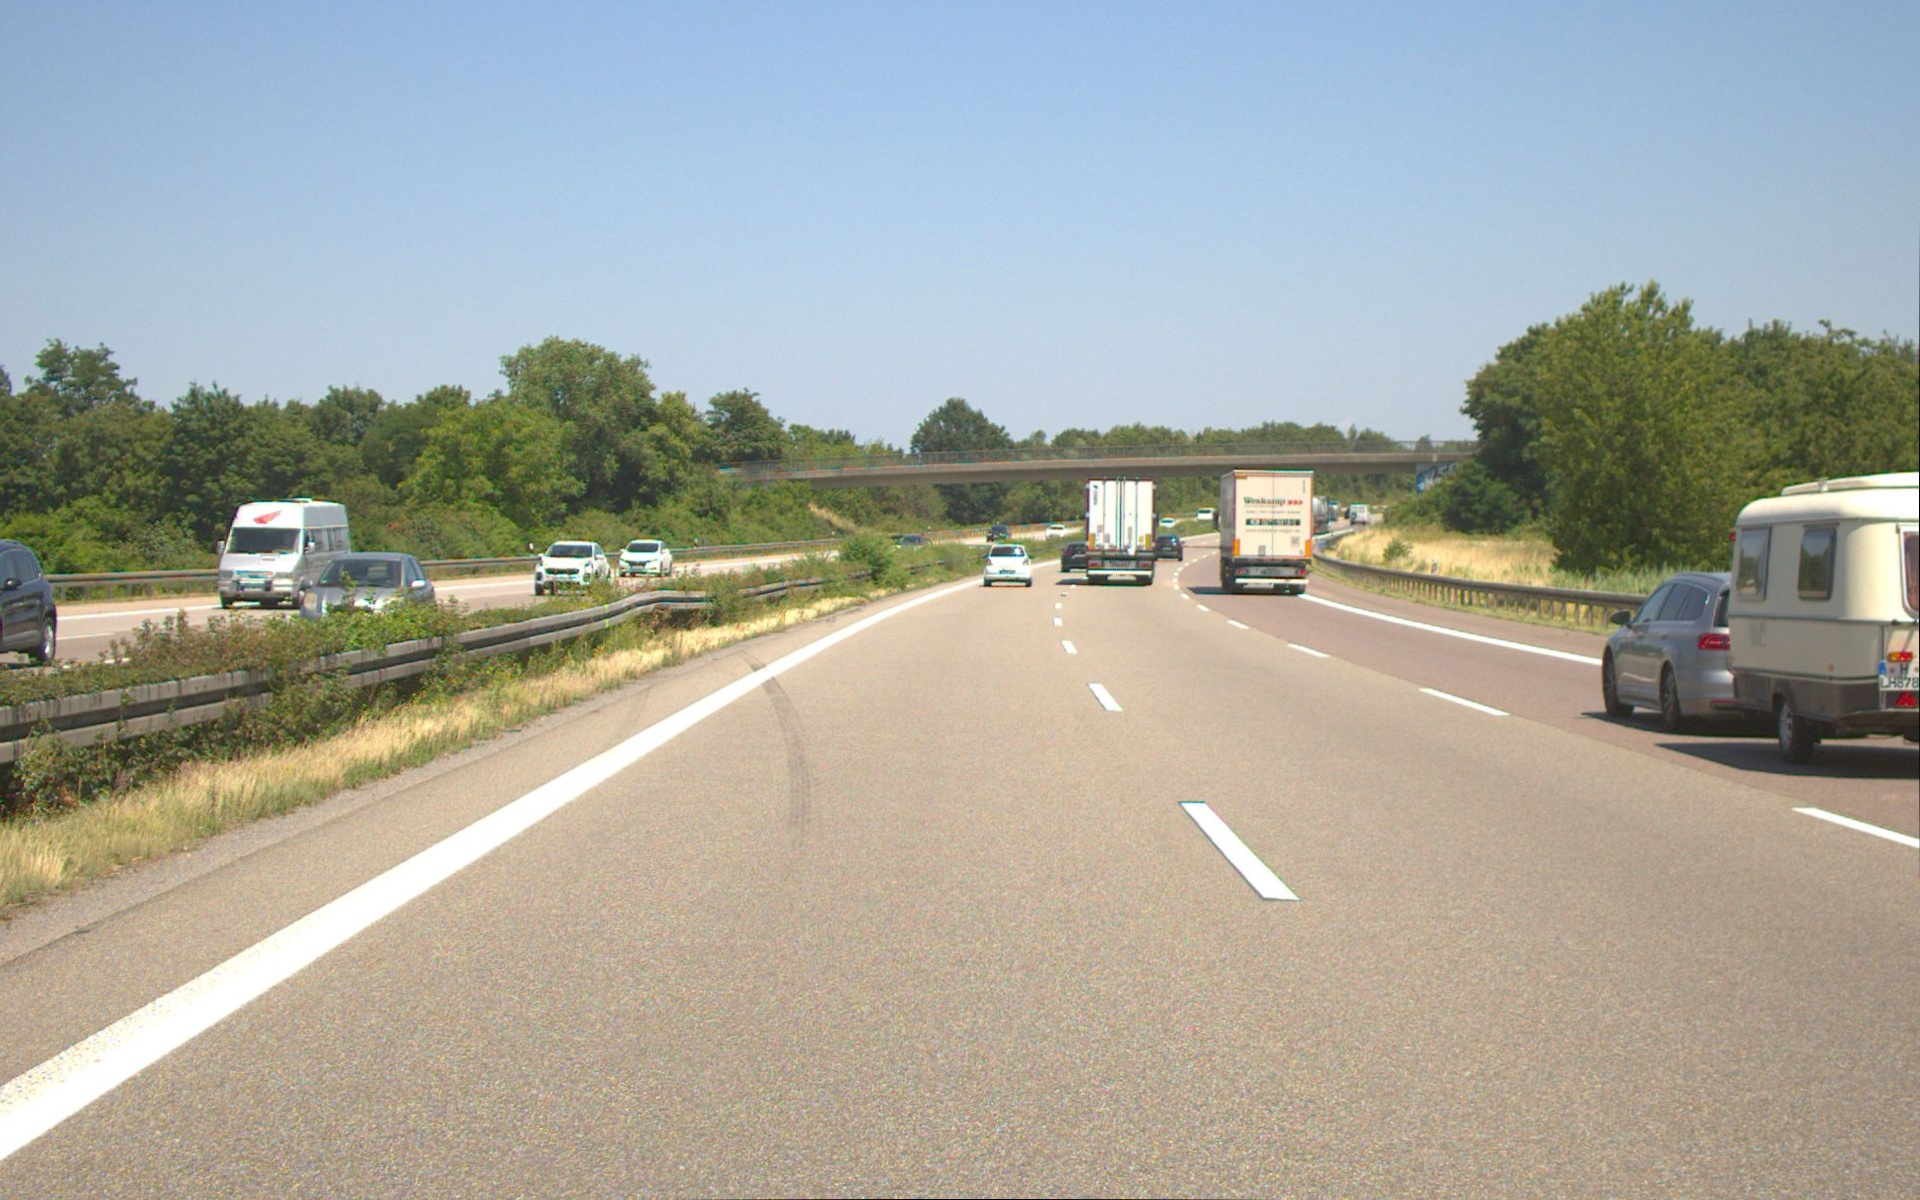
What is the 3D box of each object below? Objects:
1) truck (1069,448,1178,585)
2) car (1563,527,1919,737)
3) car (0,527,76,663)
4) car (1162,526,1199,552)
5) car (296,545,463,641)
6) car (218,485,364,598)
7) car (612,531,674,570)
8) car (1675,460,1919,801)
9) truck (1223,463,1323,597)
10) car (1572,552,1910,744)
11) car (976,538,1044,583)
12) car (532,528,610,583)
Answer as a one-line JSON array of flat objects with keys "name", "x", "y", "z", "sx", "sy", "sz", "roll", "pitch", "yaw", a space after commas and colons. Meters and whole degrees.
[{"name": "truck", "x": 6.489, "y": -3.342, "z": 134.001, "sx": 3.667, "sy": 5.001, "sz": 16.016, "roll": 1, "pitch": 2, "yaw": 5}, {"name": "car", "x": 7.140, "y": 0.215, "z": 31.921, "sx": 2.045, "sy": 1.652, "sz": 5.511, "roll": -1, "pitch": 2, "yaw": -1}, {"name": "car", "x": -12.930, "y": -0.086, "z": 44.153, "sx": 1.993, "sy": 1.692, "sz": 4.607, "roll": 0, "pitch": 1, "yaw": 0}, {"name": "car", "x": 13.555, "y": -3.761, "z": 210.987, "sx": 1.828, "sy": 1.541, "sz": 4.318, "roll": 1, "pitch": 1, "yaw": 9}, {"name": "car", "x": -9.212, "y": -0.133, "z": 54.844, "sx": 1.747, "sy": 1.461, "sz": 4.250, "roll": 0, "pitch": 1, "yaw": 3}, {"name": "car", "x": -16.491, "y": -1.437, "z": 85.116, "sx": 1.993, "sy": 2.676, "sz": 7.182, "roll": 0, "pitch": 1, "yaw": 2}, {"name": "car", "x": -13.418, "y": -2.109, "z": 145.693, "sx": 1.747, "sy": 1.535, "sz": 4.827, "roll": 2, "pitch": 2, "yaw": 5}, {"name": "car", "x": 7.285, "y": 0.102, "z": 26.362, "sx": 2.442, "sy": 2.313, "sz": 5.322, "roll": -1, "pitch": 2, "yaw": 0}, {"name": "truck", "x": 10.770, "y": -2.527, "z": 118.571, "sx": 3.182, "sy": 4.289, "sz": 16.016, "roll": 1, "pitch": 2, "yaw": 5}, {"name": "car", "x": 7.116, "y": 0.371, "z": 31.901, "sx": 1.887, "sy": 1.510, "sz": 5.380, "roll": 1, "pitch": 2, "yaw": 0}, {"name": "car", "x": 1.822, "y": -1.426, "z": 123.556, "sx": 1.828, "sy": 1.541, "sz": 4.318, "roll": 1, "pitch": 1, "yaw": 9}, {"name": "car", "x": -11.999, "y": -1.377, "z": 106.245, "sx": 1.788, "sy": 1.675, "sz": 4.901, "roll": 0, "pitch": 1, "yaw": 1}]
